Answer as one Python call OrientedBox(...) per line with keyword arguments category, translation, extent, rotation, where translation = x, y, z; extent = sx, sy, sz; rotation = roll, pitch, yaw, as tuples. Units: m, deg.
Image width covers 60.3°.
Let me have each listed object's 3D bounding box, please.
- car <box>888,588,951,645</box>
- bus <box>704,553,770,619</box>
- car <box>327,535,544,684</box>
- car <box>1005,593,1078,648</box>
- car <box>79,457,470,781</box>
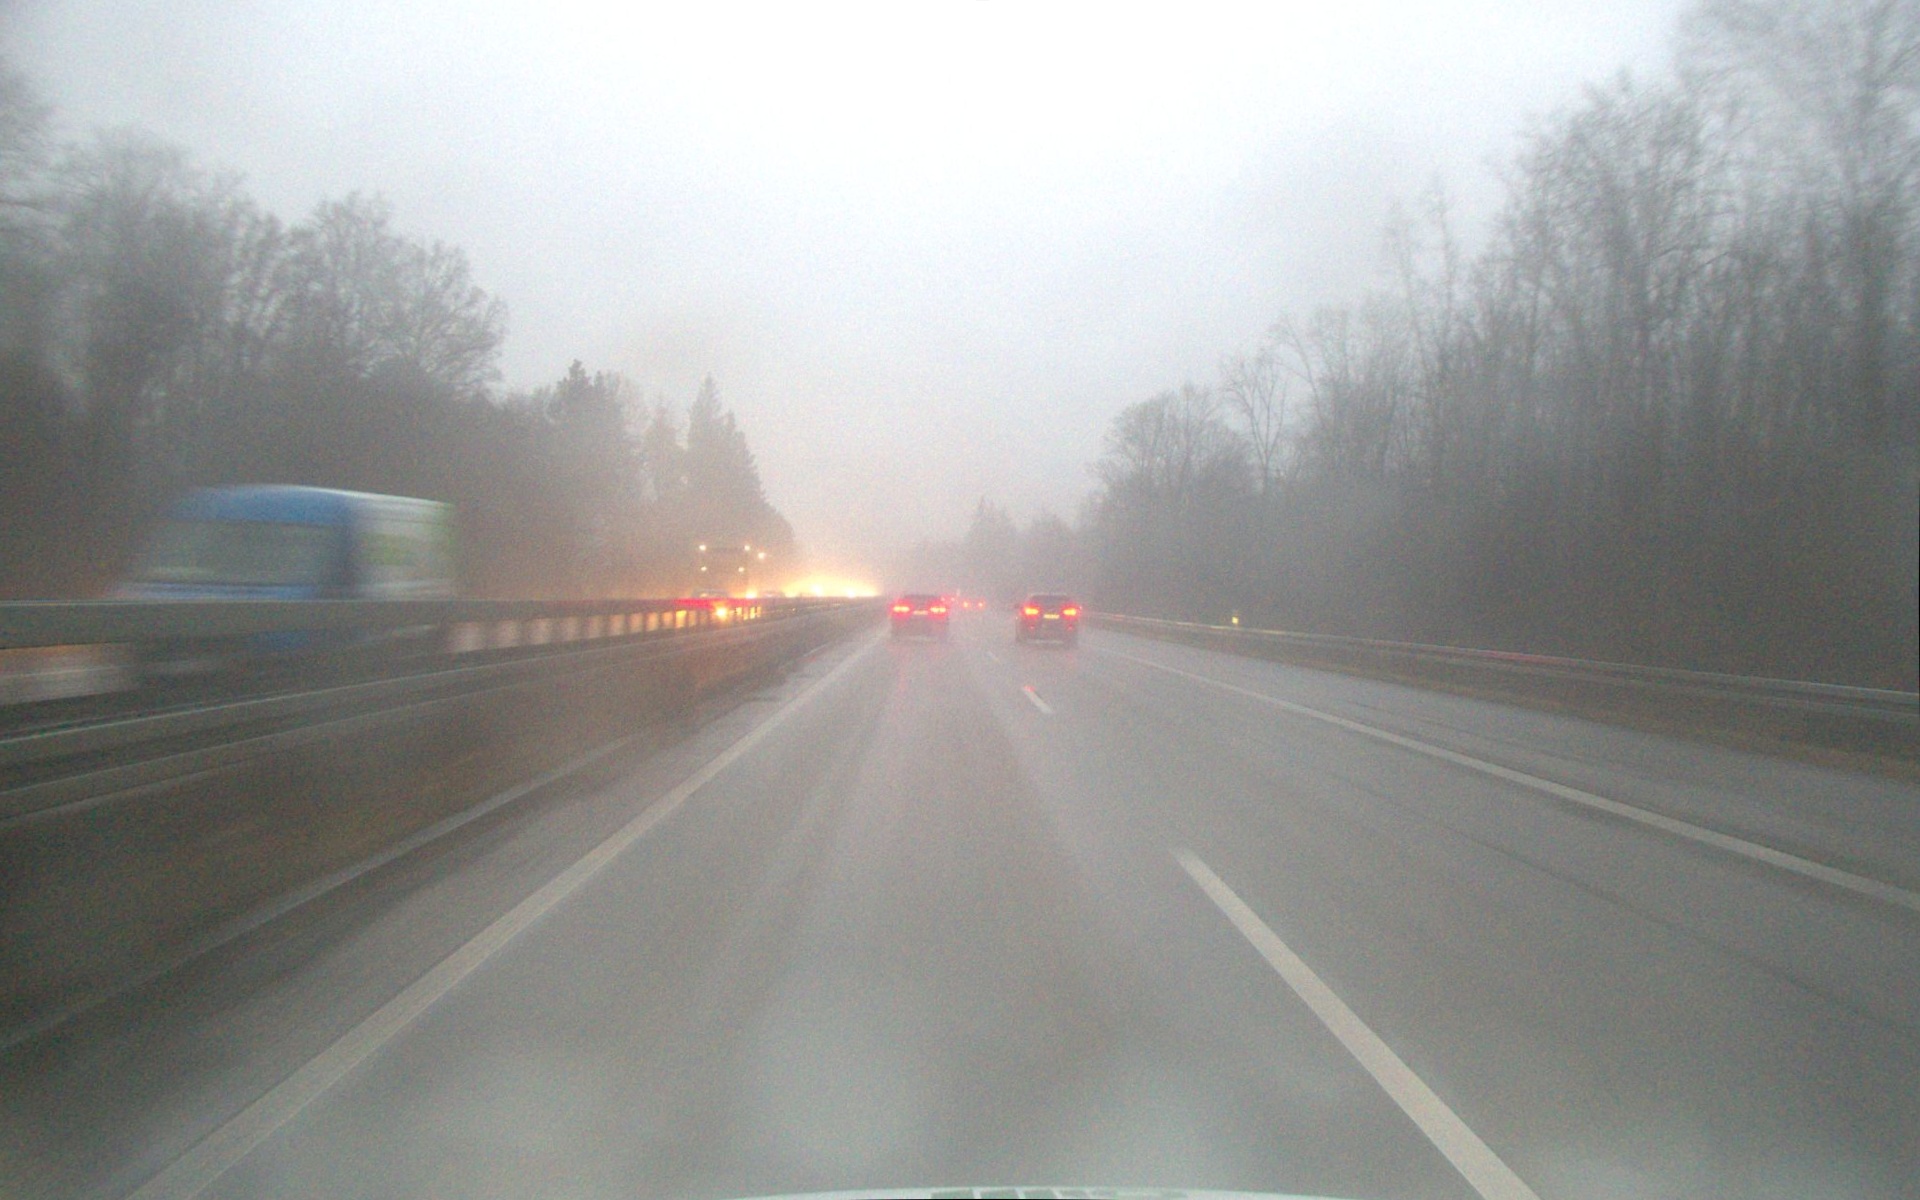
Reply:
OrientedBox(category="car", translation=(-1.368, 0.531, 54.234), extent=(1.947, 1.798, 4.171), rotation=(0, 0, -3))
OrientedBox(category="bus", translation=(-12.803, -0.767, 95.557), extent=(2.671, 3.617, 9.086), rotation=(1, 0, -1))
OrientedBox(category="car", translation=(-8.131, 0.134, 26.095), extent=(1.953, 2.048, 4.392), rotation=(3, 0, -1))
OrientedBox(category="car", translation=(2.665, 0.660, 54.960), extent=(2.028, 1.727, 4.459), rotation=(1, 0, -2))
OrientedBox(category="car", translation=(-7.550, 0.190, 19.031), extent=(2.257, 3.144, 5.606), rotation=(1, 0, -2))
